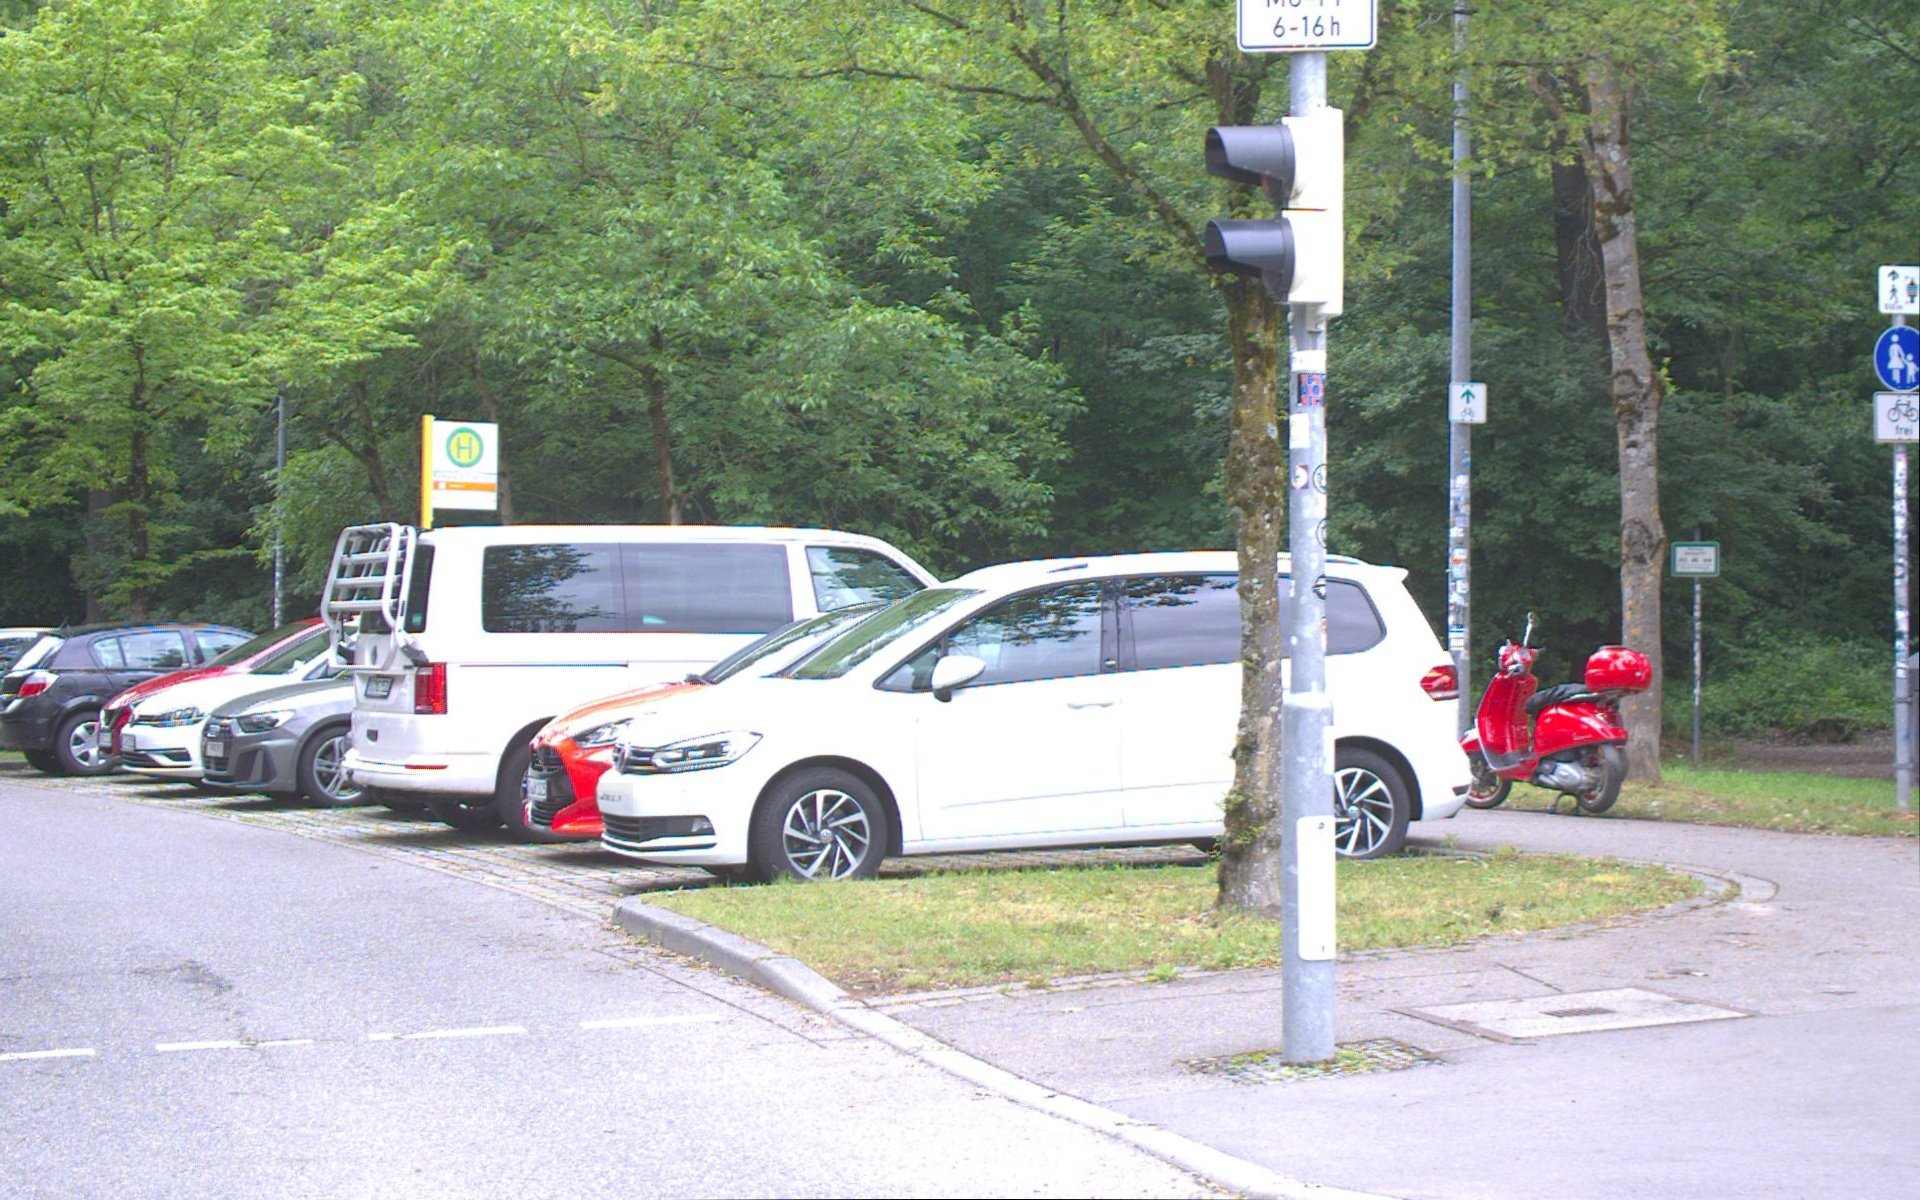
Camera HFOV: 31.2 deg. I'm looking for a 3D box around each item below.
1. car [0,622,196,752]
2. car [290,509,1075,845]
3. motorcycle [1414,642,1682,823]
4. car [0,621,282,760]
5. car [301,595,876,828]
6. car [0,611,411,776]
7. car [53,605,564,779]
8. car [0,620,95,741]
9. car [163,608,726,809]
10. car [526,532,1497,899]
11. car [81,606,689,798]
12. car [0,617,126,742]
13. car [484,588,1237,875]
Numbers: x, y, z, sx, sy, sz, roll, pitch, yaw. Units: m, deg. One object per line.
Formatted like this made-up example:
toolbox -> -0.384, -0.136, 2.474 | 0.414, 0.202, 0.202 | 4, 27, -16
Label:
car -> -11.325, 1.044, 40.521 | 4.126, 1.456, 1.865 | -1, -1, -30
car -> -1.815, 0.501, 22.511 | 4.647, 2.014, 2.084 | 1, 0, -24
motorcycle -> 4.022, 0.888, 23.670 | 0.674, 1.156, 2.012 | 0, 0, -31
car -> -9.822, 1.000, 38.307 | 3.987, 1.445, 1.941 | -1, -1, -32
car -> -2.713, 0.798, 25.084 | 3.722, 1.549, 1.846 | 1, 1, -26
car -> -7.628, 0.887, 33.741 | 3.986, 1.478, 1.922 | -1, -1, -28
car -> -5.998, 0.824, 31.700 | 4.228, 1.475, 1.919 | 0, -1, -28
car -> -13.388, 1.061, 44.562 | 3.843, 1.540, 1.730 | -1, -1, -34
car -> -4.044, 0.868, 27.017 | 3.986, 1.478, 1.877 | 1, -2, -26
car -> 0.222, 0.543, 17.750 | 4.519, 1.687, 2.166 | -1, -1, -19
car -> -4.876, 0.817, 29.241 | 4.771, 1.471, 1.853 | -1, 0, -25
car -> -12.443, 1.003, 42.630 | 3.702, 1.506, 1.751 | -1, -1, -32
car -> -0.614, 0.731, 20.088 | 3.996, 1.550, 1.947 | 1, 0, -18
